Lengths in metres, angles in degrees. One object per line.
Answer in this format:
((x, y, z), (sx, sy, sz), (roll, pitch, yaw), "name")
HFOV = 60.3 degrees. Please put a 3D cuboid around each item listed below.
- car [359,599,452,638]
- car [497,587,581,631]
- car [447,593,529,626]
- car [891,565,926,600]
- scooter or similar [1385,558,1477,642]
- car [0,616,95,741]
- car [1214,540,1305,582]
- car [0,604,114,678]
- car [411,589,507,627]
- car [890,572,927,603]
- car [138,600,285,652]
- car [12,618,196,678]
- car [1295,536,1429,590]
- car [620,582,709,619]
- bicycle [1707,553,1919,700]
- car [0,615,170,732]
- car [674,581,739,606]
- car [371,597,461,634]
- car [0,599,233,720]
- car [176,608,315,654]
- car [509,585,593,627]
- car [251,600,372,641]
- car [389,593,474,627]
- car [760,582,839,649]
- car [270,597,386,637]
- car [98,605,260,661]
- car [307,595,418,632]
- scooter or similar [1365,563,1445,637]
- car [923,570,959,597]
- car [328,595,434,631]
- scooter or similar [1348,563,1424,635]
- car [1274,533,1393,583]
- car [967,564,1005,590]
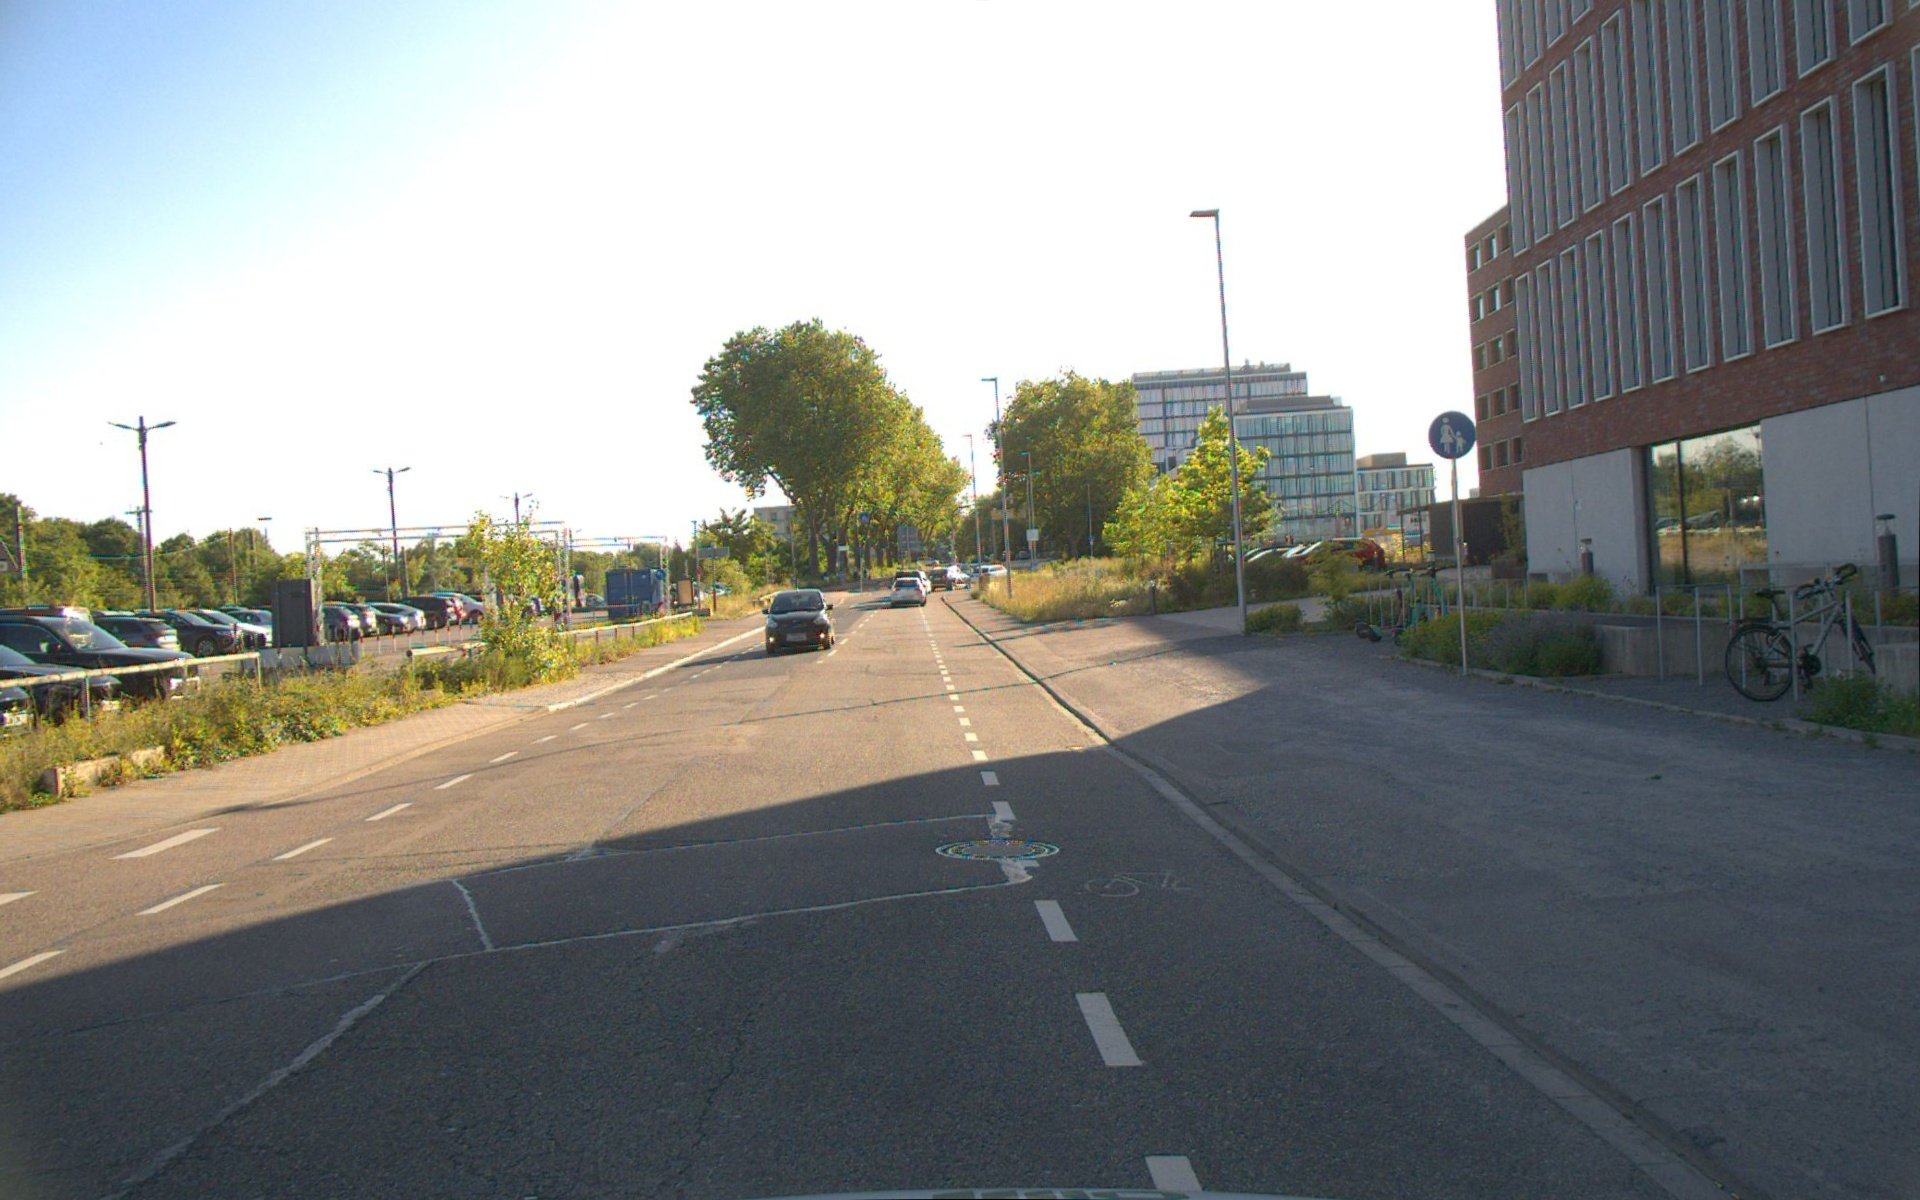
((-26.710, 0.897, 79.739), (3.805, 1.631, 1.877), (-3, 1, -3), "car")
((-27.512, 0.591, 108.173), (4.829, 2.502, 2.319), (-4, 1, -3), "car")
((-27.948, 0.552, 98.014), (4.235, 1.646, 1.877), (-3, 1, -3), "car")
((-2.781, -0.974, 90.286), (1.782, 1.799, 4.629), (-3, 1, -1), "car")
((7.690, -0.006, 27.036), (1.313, 1.266, 0.424), (-4, 1, 2), "scooter or similar")
((-13.859, 1.096, 21.231), (4.339, 1.487, 2.048), (-3, 1, -1), "car")
((13.973, -1.812, 77.316), (3.904, 1.735, 1.852), (-3, 1, 2), "car")
((-25.784, 1.148, 44.971), (4.484, 1.836, 1.857), (-3, 1, -1), "car")
((-27.118, 0.422, 89.605), (4.485, 1.771, 2.059), (-3, 1, 2), "car")
((-2.597, -0.640, 84.058), (1.753, 1.445, 4.000), (-3, 1, -1), "car")
((-26.323, 0.894, 58.239), (4.234, 1.550, 1.878), (-3, 1, -1), "car")
((-25.935, 1.440, 50.221), (4.482, 1.506, 1.991), (-3, 1, 1), "car")
((13.653, -1.246, 56.332), (4.098, 1.608, 1.852), (-3, 1, 2), "car")
((-16.986, -0.010, 95.320), (4.749, 1.866, 1.999), (-3, 1, -3), "car")
((7.956, 0.237, 15.352), (1.896, 1.190, 0.374), (-5, 0, -8), "bicycle")
((-14.082, 1.113, 23.814), (4.339, 1.487, 2.048), (-3, 1, -1), "car")
((-18.025, -0.475, 117.730), (4.337, 1.584, 1.877), (-3, 1, -3), "car")
((-27.037, 0.753, 82.349), (3.805, 1.631, 1.877), (-3, 1, -3), "car")
((-14.439, 0.972, 26.776), (4.339, 1.699, 2.048), (-3, 1, -1), "car")
((-26.246, 1.136, 60.862), (4.234, 1.417, 1.878), (-3, 1, -1), "car")
((-27.381, 0.395, 110.860), (4.995, 2.502, 2.319), (-3, 1, -3), "car")
((-26.903, 0.842, 68.749), (4.235, 1.444, 1.877), (-3, 1, -3), "car")
((-27.700, 0.526, 86.725), (3.805, 1.546, 1.877), (-3, 1, -3), "car")
((-4.157, 0.379, 43.225), (1.621, 1.529, 3.999), (-4, 0, -1), "car")
((-27.333, 0.732, 71.609), (4.235, 1.444, 1.877), (-3, 1, -3), "car")
((-26.324, 1.093, 55.858), (4.484, 1.612, 1.857), (-3, 1, -1), "car")
((-26.738, 0.590, 74.135), (4.235, 1.400, 1.877), (-3, 1, -3), "car")
((7.684, -0.002, 28.552), (1.217, 1.175, 0.366), (-4, 1, 2), "scooter or similar")
((-1.272, -1.114, 113.544), (2.118, 1.713, 4.001), (-3, 0, 3), "car")
((-26.904, 0.604, 76.926), (4.235, 1.400, 1.877), (-3, 1, -3), "car")
((7.738, -0.024, 30.071), (1.217, 1.215, 0.340), (-4, 1, 2), "scooter or similar")
((14.237, -1.579, 63.280), (4.098, 1.608, 1.852), (-3, -1, 2), "car")
((1.879, -1.643, 119.463), (2.117, 1.713, 4.003), (-3, 0, 9), "car")
